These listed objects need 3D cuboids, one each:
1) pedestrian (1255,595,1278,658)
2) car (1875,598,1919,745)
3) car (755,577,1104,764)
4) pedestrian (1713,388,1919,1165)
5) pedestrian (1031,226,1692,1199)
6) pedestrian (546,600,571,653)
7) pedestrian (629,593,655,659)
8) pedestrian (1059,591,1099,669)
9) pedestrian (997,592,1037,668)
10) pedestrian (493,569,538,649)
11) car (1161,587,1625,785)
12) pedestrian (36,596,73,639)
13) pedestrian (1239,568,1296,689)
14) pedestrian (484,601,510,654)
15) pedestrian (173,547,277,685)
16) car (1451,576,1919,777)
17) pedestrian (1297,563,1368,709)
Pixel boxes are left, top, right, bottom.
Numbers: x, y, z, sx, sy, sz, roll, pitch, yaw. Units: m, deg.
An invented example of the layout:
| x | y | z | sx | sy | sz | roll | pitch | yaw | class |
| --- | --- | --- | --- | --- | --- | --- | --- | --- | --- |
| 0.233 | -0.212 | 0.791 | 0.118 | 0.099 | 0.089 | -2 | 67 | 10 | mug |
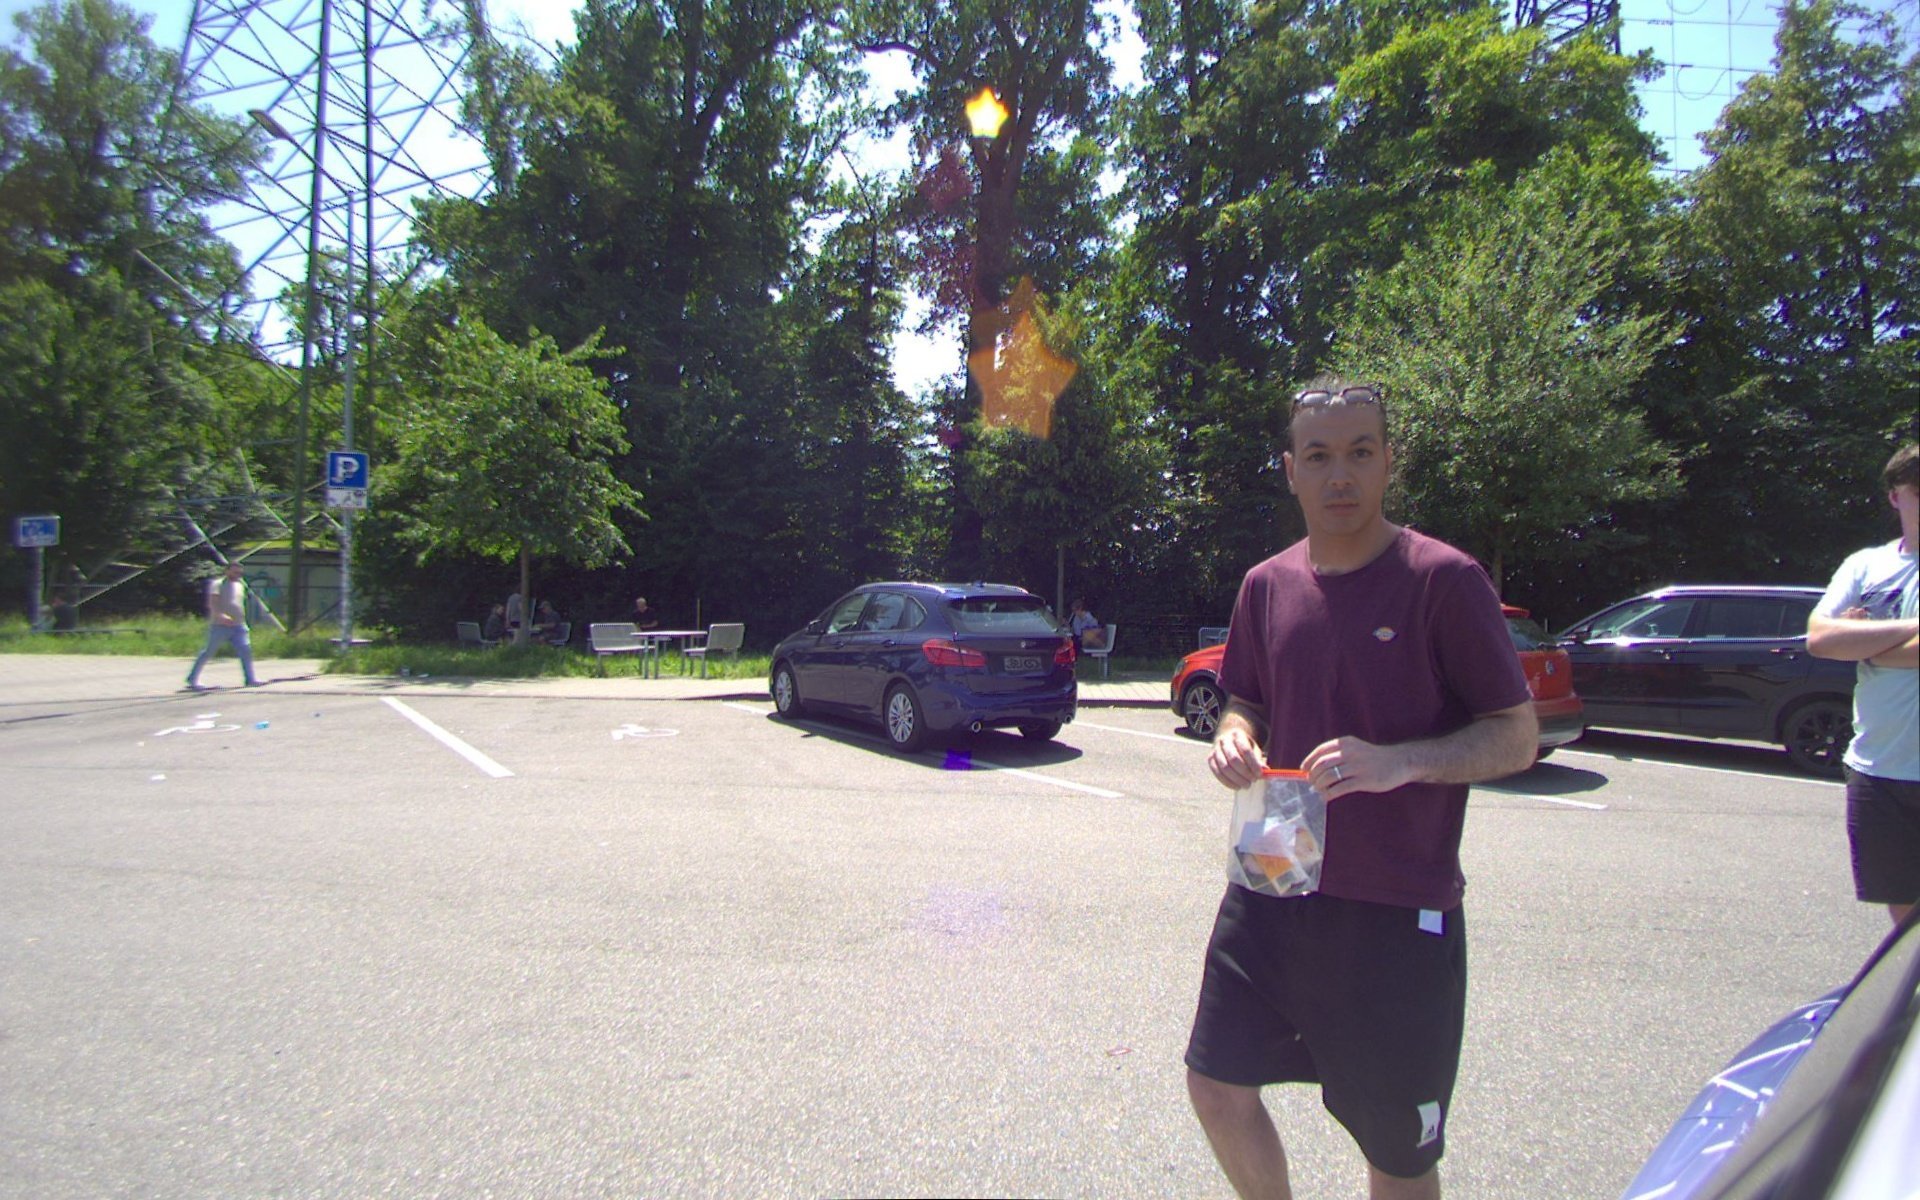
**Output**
| x | y | z | sx | sy | sz | roll | pitch | yaw | class |
| --- | --- | --- | --- | --- | --- | --- | --- | --- | --- |
| 5.798 | 0.488 | 19.127 | 0.350 | 1.180 | 0.384 | 0 | 0 | 8 | pedestrian |
| 10.879 | 0.697 | 9.013 | 1.620 | 1.420 | 3.826 | 0 | 0 | -37 | car |
| -0.559 | 0.547 | 10.787 | 1.714 | 1.572 | 4.347 | 0 | 1 | -33 | car |
| 2.855 | 0.446 | 2.810 | 0.902 | 1.974 | 0.815 | 0 | 0 | -9 | pedestrian |
| 0.737 | 0.498 | 1.854 | 0.917 | 1.929 | 0.802 | 0 | 0 | 41 | pedestrian |
| -9.367 | 0.613 | 23.595 | 0.452 | 1.209 | 0.447 | 0 | 0 | -34 | pedestrian |
| -6.708 | 0.544 | 21.343 | 0.438 | 1.363 | 0.462 | 0 | 0 | -5 | pedestrian |
| 1.983 | 0.490 | 16.856 | 0.586 | 1.261 | 0.498 | 0 | 0 | 16 | pedestrian |
| 0.969 | 0.493 | 17.112 | 0.586 | 1.261 | 0.445 | 0 | 0 | 16 | pedestrian |
| -9.476 | 0.186 | 21.587 | 0.701 | 1.670 | 0.688 | 0 | 0 | -5 | pedestrian |
| 3.863 | 0.629 | 9.649 | 1.619 | 1.487 | 3.830 | 0 | 0 | -33 | car |
| -20.974 | 0.397 | 23.449 | 0.452 | 0.987 | 0.447 | 0 | 0 | -2 | pedestrian |
| 4.199 | 0.377 | 13.855 | 0.636 | 1.625 | 0.571 | 0 | 0 | 6 | pedestrian |
| -10.456 | 0.613 | 22.853 | 0.452 | 1.182 | 0.447 | 0 | 0 | -34 | pedestrian |
| -10.567 | 0.220 | 14.570 | 0.904 | 1.929 | 0.813 | 0 | 0 | 2 | pedestrian |
| 7.079 | 0.587 | 9.866 | 1.620 | 1.575 | 3.826 | 0 | 0 | -37 | car |
| 4.259 | 0.398 | 11.598 | 0.636 | 1.625 | 0.571 | 0 | 0 | 6 | pedestrian |
